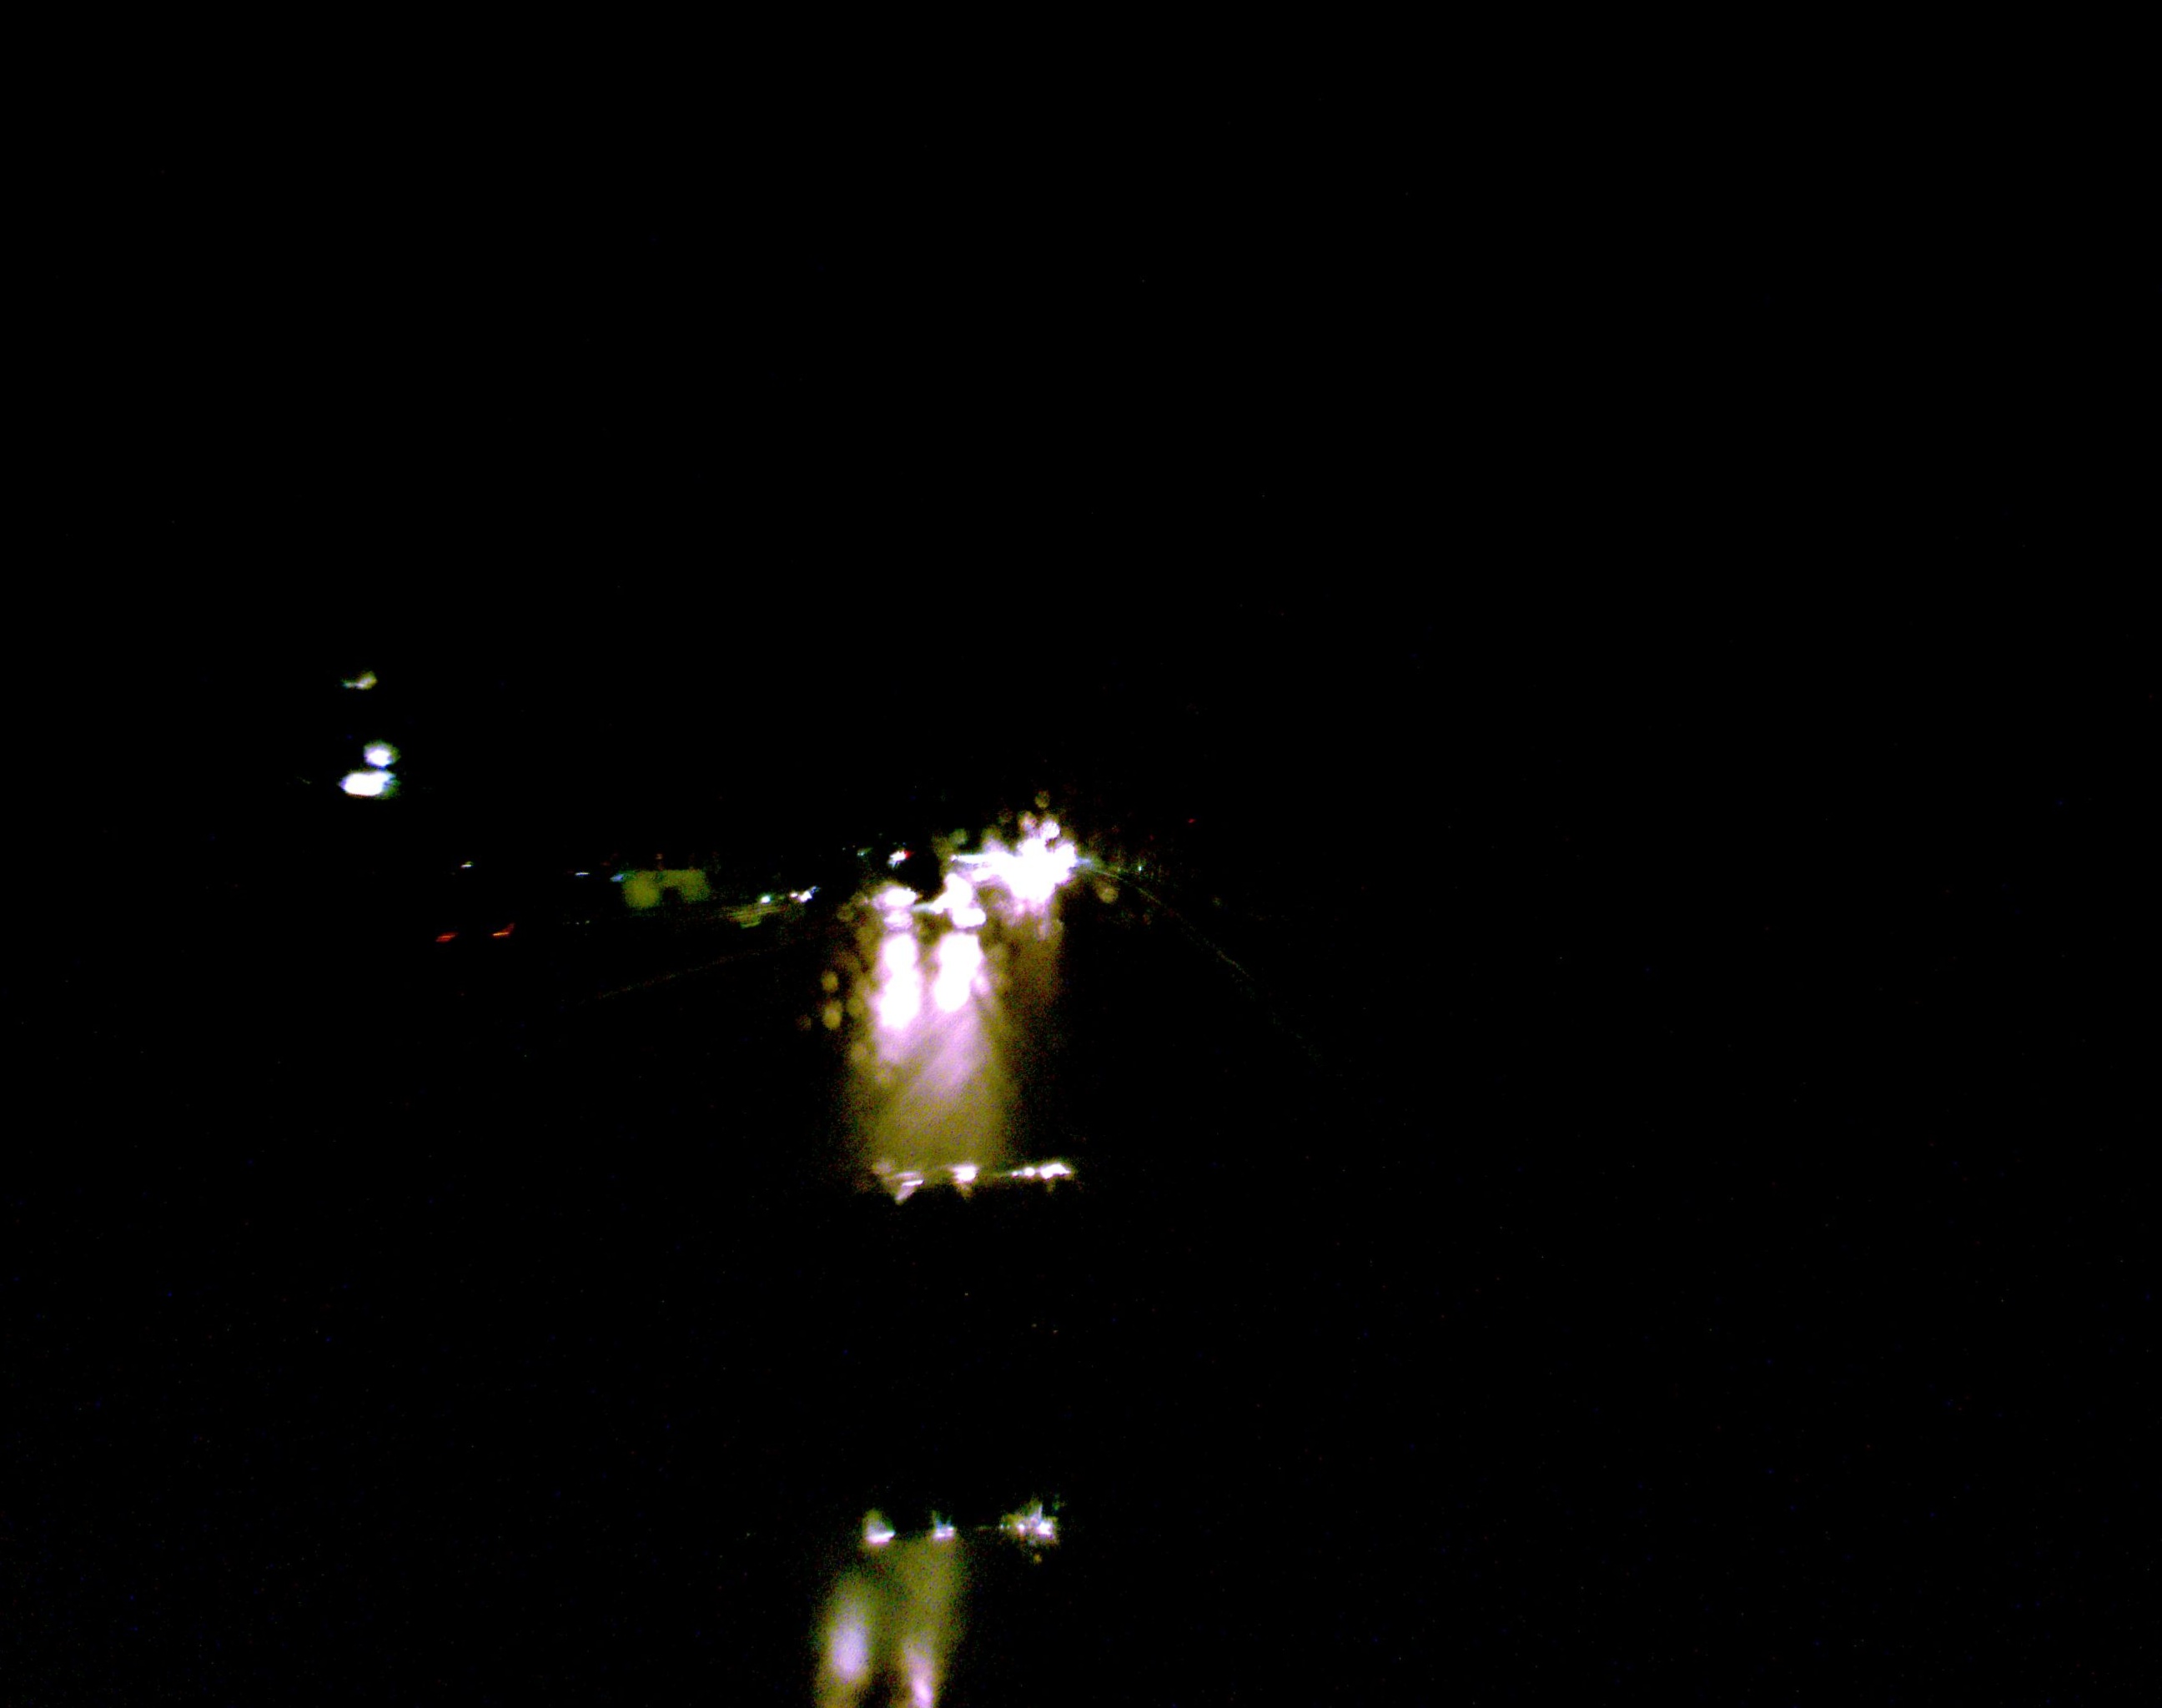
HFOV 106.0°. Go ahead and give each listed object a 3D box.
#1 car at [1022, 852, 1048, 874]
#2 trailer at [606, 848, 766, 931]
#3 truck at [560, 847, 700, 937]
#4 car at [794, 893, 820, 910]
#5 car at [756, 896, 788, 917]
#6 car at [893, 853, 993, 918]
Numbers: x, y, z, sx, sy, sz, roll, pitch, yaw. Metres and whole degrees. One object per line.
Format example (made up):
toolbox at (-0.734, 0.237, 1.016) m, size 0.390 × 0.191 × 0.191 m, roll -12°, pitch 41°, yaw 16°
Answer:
car at (-3.364, 0.671, 59.801) m, size 1.631 × 1.519 × 3.769 m, roll -2°, pitch 0°, yaw -1°
trailer at (-25.157, 2.107, 53.030) m, size 3.308 × 4.796 × 11.584 m, roll -1°, pitch 0°, yaw 9°
truck at (-26.038, 2.079, 47.524) m, size 3.308 × 4.796 × 7.337 m, roll -1°, pitch -1°, yaw 9°
car at (-28.582, 4.942, 85.124) m, size 1.807 × 1.570 × 4.281 m, roll -1°, pitch 0°, yaw -8°
car at (-28.587, 4.824, 75.529) m, size 1.807 × 1.676 × 4.281 m, roll -1°, pitch 0°, yaw -8°
car at (-3.304, 0.718, 20.250) m, size 1.705 × 1.417 × 4.066 m, roll -1°, pitch 0°, yaw 1°
